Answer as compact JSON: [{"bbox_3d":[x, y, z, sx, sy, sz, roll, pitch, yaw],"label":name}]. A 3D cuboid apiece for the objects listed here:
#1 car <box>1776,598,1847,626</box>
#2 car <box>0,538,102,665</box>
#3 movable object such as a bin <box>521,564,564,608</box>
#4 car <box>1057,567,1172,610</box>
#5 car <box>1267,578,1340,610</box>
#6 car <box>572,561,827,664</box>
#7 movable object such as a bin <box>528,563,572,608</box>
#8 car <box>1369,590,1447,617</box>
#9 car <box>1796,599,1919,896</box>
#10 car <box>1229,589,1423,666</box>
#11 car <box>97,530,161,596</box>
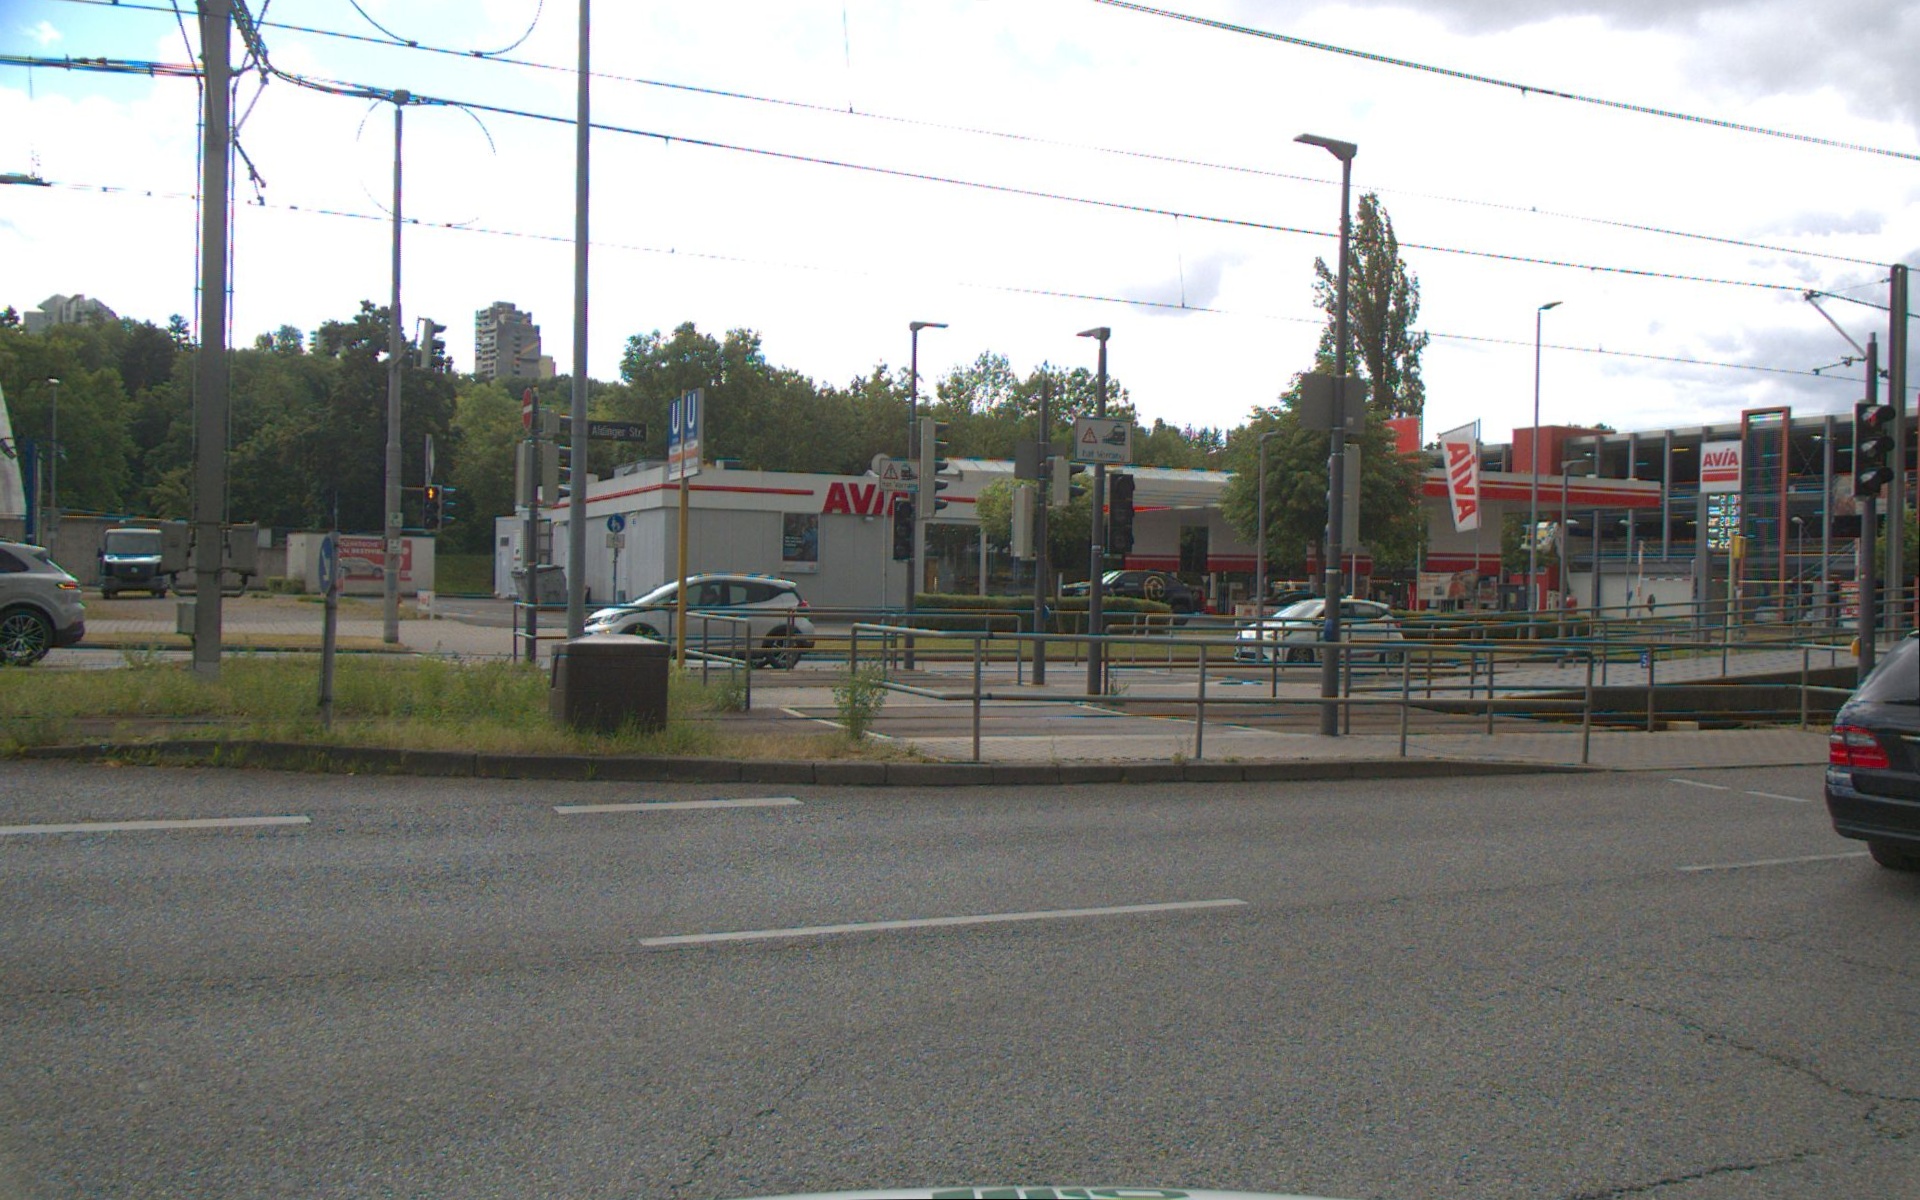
[{"bbox_3d":[46.020,0.669,89.372,3.507,1.440,1.706,2,-1,-28],"label":"car"},{"bbox_3d":[-14.008,-0.010,21.467,1.647,1.671,4.825,2,0,42],"label":"car"},{"bbox_3d":[-14.916,-0.498,59.071,1.349,1.510,1.097,1,-1,-22],"label":"movable object such as a bin"},{"bbox_3d":[5.257,-0.380,56.276,3.579,1.373,1.605,1,0,-27],"label":"car"},{"bbox_3d":[20.243,-0.344,97.485,4.002,1.783,1.896,2,-1,-30],"label":"car"},{"bbox_3d":[-4.521,0.230,28.719,4.058,1.670,1.737,1,0,-25],"label":"car"},{"bbox_3d":[-14.314,-0.484,57.745,1.349,1.521,1.097,1,-1,-22],"label":"movable object such as a bin"},{"bbox_3d":[24.763,0.201,91.413,4.002,1.389,1.897,2,-1,-30],"label":"car"},{"bbox_3d":[6.810,0.797,9.552,4.368,1.503,1.815,1,1,-37],"label":"car"},{"bbox_3d":[7.601,0.574,34.293,3.771,1.479,1.618,1,0,-27],"label":"car"},{"bbox_3d":[-28.394,-1.212,56.463,1.819,2.088,4.341,2,-1,-28],"label":"car"}]
